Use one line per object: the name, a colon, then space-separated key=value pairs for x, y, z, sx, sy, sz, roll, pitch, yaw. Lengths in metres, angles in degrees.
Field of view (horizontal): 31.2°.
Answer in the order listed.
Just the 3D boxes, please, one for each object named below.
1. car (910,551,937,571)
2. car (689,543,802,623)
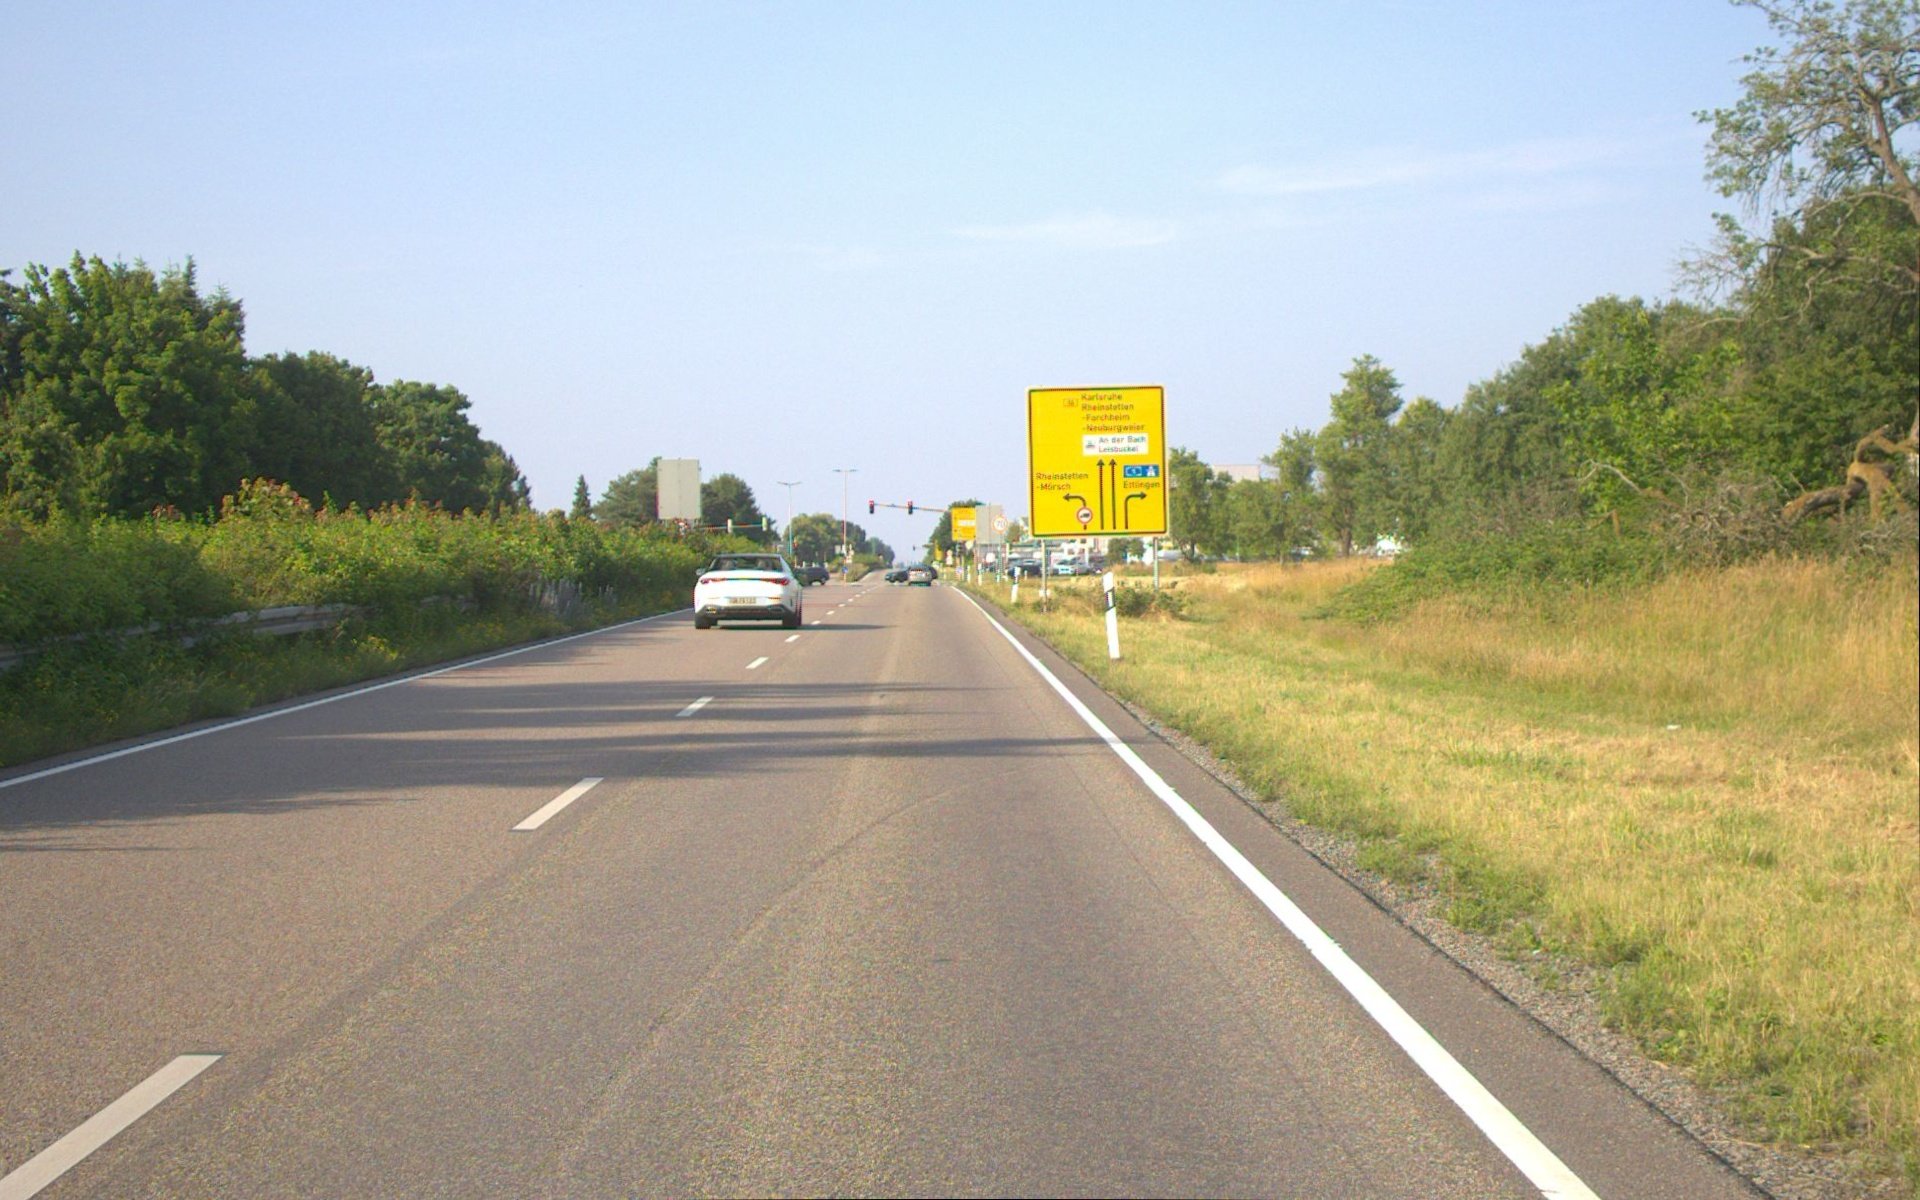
car: x=-2.708 y=-2.894 z=254.245 sx=1.993 sy=1.481 sz=4.000 roll=0 pitch=1 yaw=-1
car: x=-3.915 y=-0.335 z=63.172 sx=1.909 sy=1.417 sz=4.000 roll=0 pitch=1 yaw=-1
